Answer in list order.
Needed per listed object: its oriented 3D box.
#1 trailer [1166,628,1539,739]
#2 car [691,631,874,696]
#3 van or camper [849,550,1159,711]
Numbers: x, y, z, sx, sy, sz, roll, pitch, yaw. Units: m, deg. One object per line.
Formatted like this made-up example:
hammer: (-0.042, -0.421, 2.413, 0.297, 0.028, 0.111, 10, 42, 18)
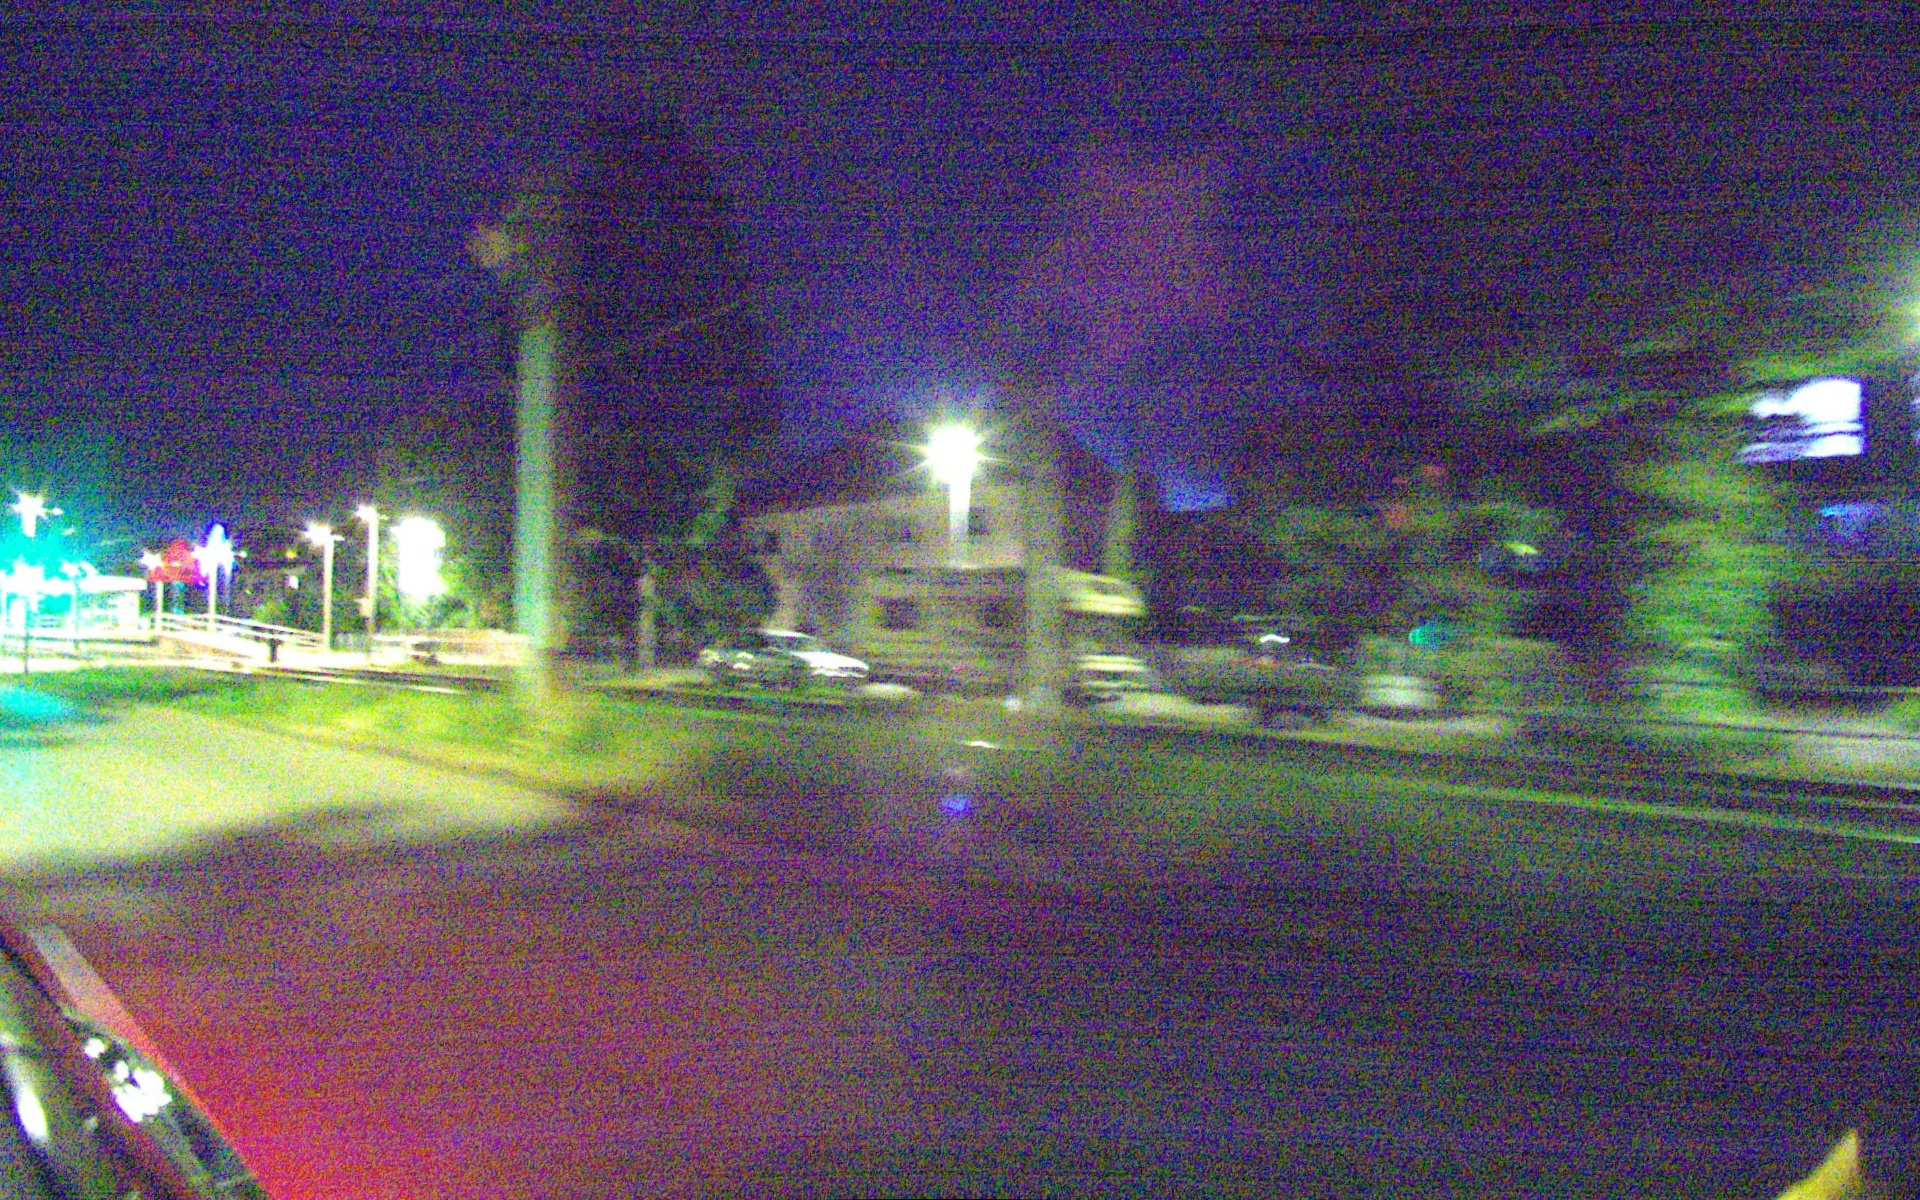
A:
trailer: (5.752, 1.205, 15.204, 2.391, 1.385, 4.658, 7, -6, -44)
car: (-4.207, 1.453, 23.583, 4.540, 1.350, 1.628, -2, -7, 41)
van or camper: (0.732, 0.631, 19.440, 5.655, 2.668, 2.251, -1, -5, 37)
